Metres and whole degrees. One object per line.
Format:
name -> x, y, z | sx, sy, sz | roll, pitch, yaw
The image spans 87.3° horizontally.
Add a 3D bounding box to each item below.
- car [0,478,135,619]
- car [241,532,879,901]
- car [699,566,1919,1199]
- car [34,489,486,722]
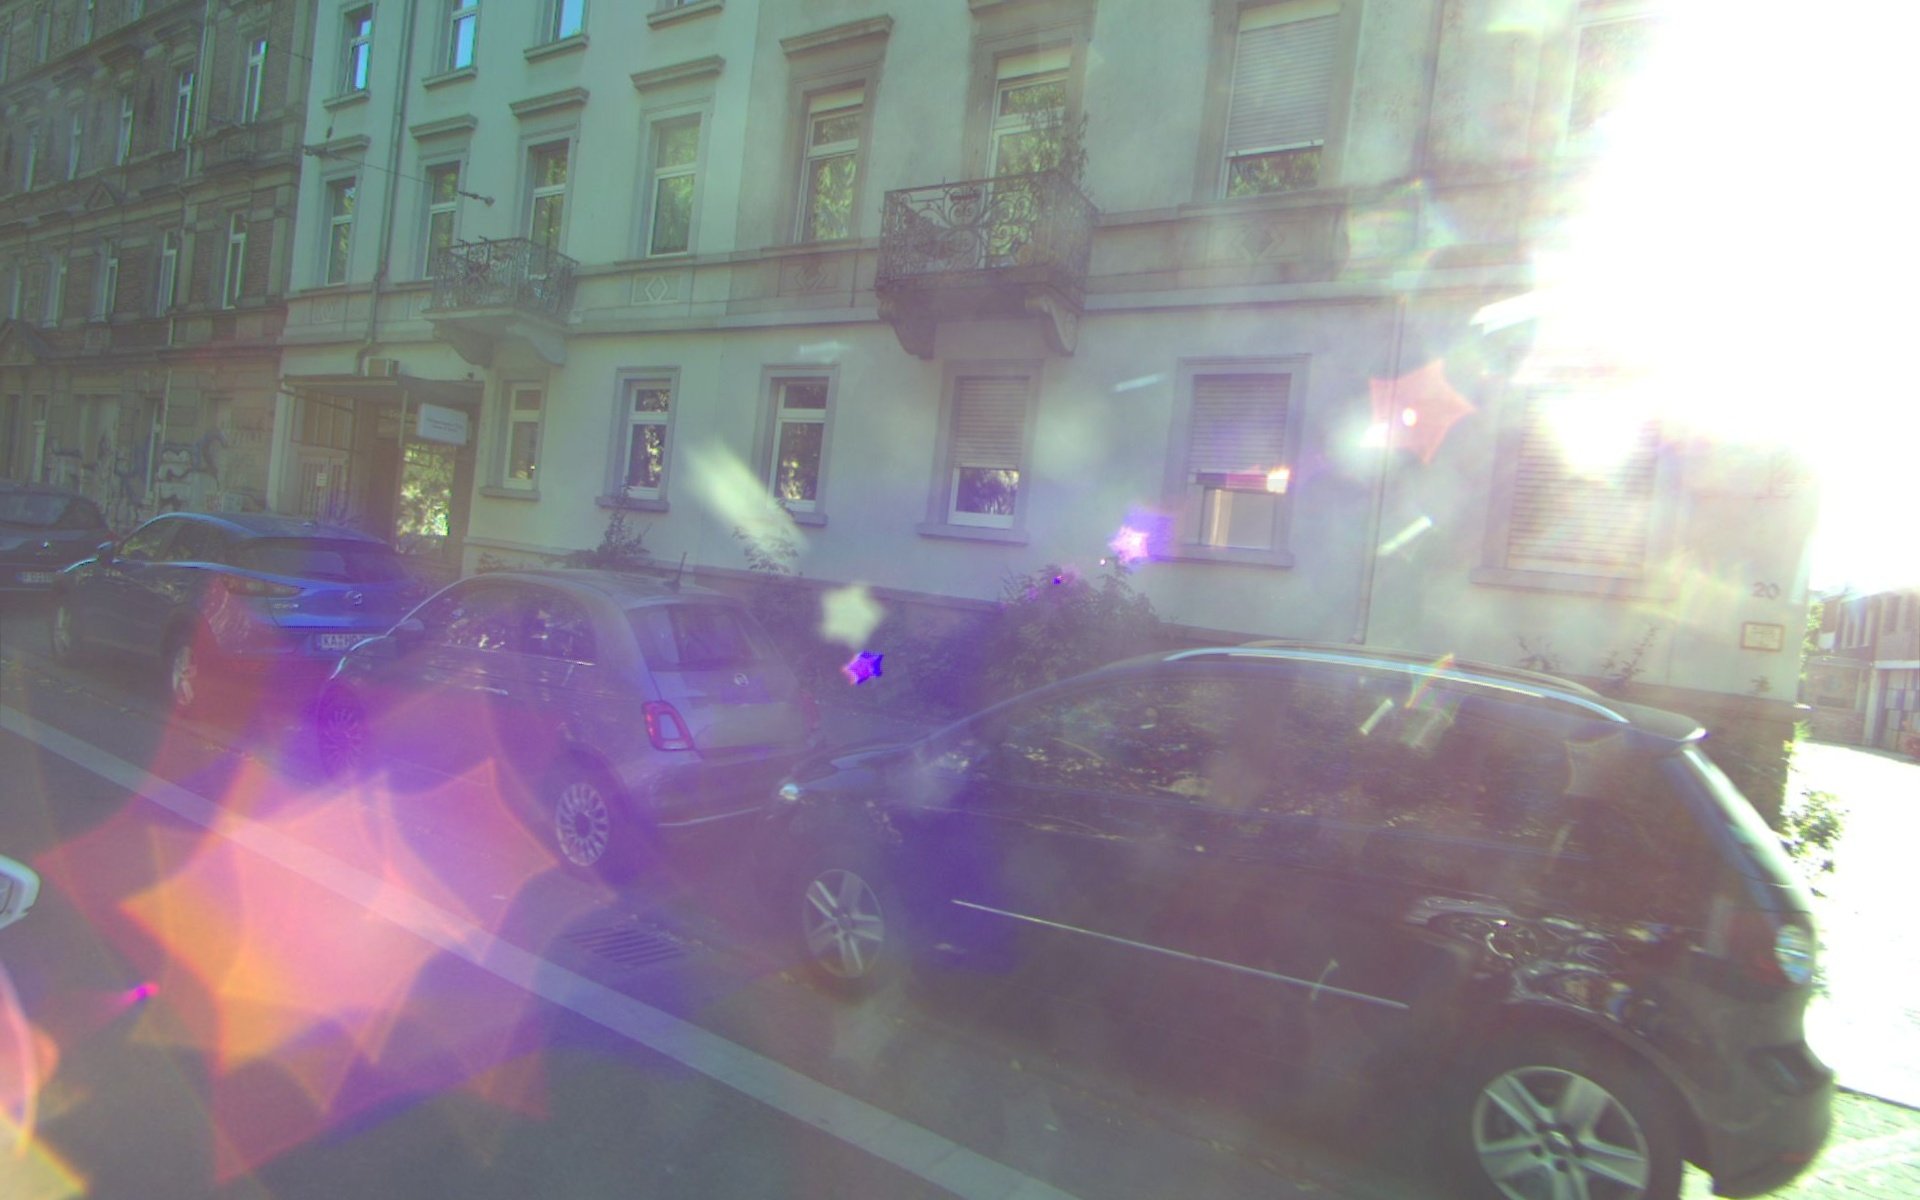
car -> -11.707, -0.717, 12.088 | 3.702, 1.504, 1.710 | 7, 3, 33
car -> -2.589, 0.490, 6.347 | 3.705, 1.476, 1.798 | 7, 3, 30
car -> 1.059, 0.853, 4.189 | 3.866, 1.608, 1.880 | 7, 3, 29
car -> -6.233, -0.061, 8.852 | 3.960, 1.476, 1.879 | 7, 3, 33
